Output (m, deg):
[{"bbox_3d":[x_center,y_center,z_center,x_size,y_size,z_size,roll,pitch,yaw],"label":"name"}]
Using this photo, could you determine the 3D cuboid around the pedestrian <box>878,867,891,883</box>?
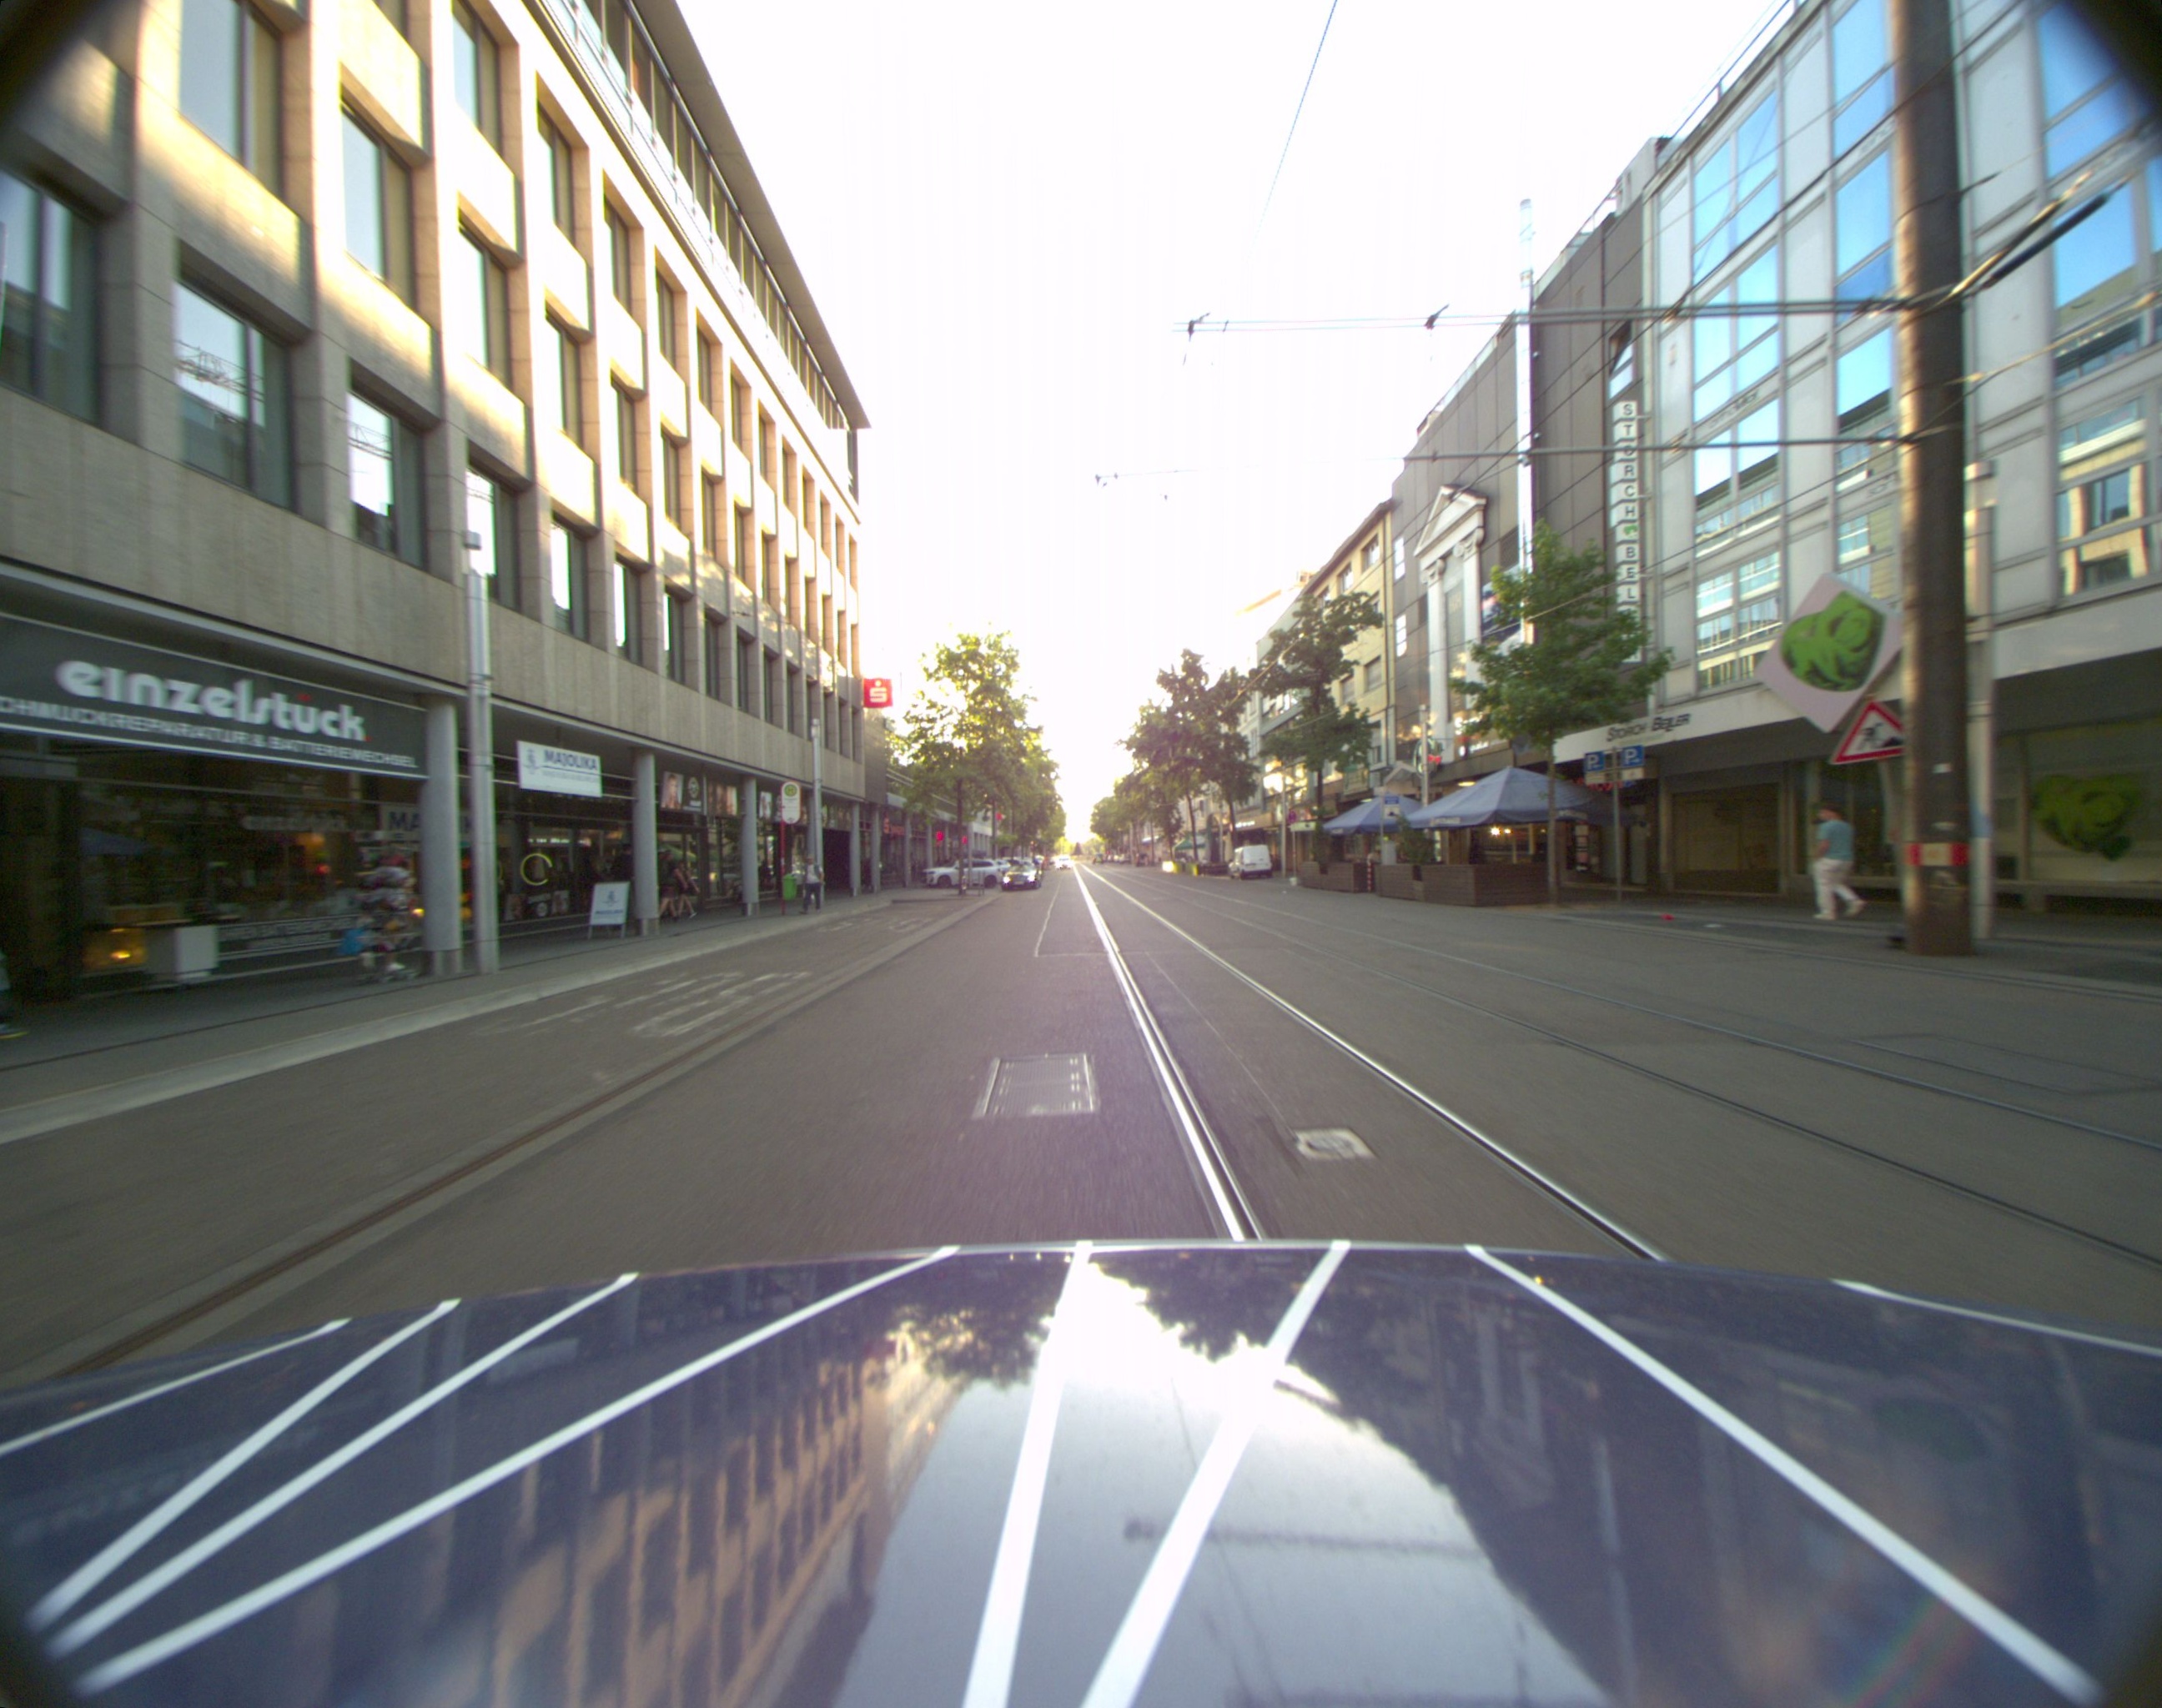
[{"bbox_3d":[-11.706,1.250,45.193,0.627,0.876,0.558,-1,1,-1],"label":"pedestrian"}]

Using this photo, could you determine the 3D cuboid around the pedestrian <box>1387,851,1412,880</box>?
[{"bbox_3d":[13.079,0.458,31.201,0.642,1.150,0.665,-4,1,-3],"label":"pedestrian"}]

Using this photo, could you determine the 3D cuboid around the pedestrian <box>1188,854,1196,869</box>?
[{"bbox_3d":[9.854,0.666,67.386,0.649,1.378,0.650,-1,1,6],"label":"pedestrian"}]

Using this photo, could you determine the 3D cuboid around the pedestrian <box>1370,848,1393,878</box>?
[{"bbox_3d":[13.169,0.397,33.297,0.642,1.221,0.665,-6,2,-2],"label":"pedestrian"}]

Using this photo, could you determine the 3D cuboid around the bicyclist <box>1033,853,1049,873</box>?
[{"bbox_3d":[-2.825,0.623,53.735,0.763,1.406,0.895,-1,0,-45],"label":"bicyclist"}]

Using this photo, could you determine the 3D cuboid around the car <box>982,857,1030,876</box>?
[{"bbox_3d":[-6.948,1.144,70.362,4.005,1.501,1.796,-4,1,-30],"label":"car"}]

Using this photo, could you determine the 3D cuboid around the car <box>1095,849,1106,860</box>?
[{"bbox_3d":[3.590,0.128,141.287,1.998,2.002,4.000,-1,0,0],"label":"car"}]

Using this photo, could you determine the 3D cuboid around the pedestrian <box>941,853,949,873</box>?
[{"bbox_3d":[-11.476,0.776,64.061,0.558,1.681,0.628,-1,1,0],"label":"pedestrian"}]

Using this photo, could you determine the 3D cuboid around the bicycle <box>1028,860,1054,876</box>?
[{"bbox_3d":[-2.824,0.978,53.736,0.734,1.067,1.860,-1,0,-45],"label":"bicycle"}]

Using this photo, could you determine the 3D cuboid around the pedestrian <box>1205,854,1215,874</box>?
[{"bbox_3d":[9.666,0.734,57.066,0.649,1.451,0.651,-1,1,17],"label":"pedestrian"}]

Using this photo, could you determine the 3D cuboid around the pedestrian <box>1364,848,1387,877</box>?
[{"bbox_3d":[13.243,0.386,34.197,0.642,1.221,0.665,-6,2,-2],"label":"pedestrian"}]

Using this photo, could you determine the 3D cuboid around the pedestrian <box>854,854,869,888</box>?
[{"bbox_3d":[-11.616,0.876,40.184,0.558,1.762,0.628,-1,1,0],"label":"pedestrian"}]

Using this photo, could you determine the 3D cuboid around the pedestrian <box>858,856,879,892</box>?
[{"bbox_3d":[-9.829,0.924,35.235,0.749,1.634,0.741,-1,1,-1],"label":"pedestrian"}]

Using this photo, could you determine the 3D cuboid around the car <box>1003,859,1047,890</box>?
[{"bbox_3d":[-2.864,1.011,39.664,1.798,1.400,4.565,-3,0,1],"label":"car"}]

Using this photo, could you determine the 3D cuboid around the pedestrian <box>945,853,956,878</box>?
[{"bbox_3d":[-9.144,0.797,53.259,0.618,1.681,0.628,-1,1,0],"label":"pedestrian"}]

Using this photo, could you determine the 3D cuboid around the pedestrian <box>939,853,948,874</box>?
[{"bbox_3d":[-11.247,0.786,62.178,0.558,1.681,0.628,-1,1,0],"label":"pedestrian"}]

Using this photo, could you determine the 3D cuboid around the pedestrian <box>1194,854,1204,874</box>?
[{"bbox_3d":[8.870,0.762,57.216,0.649,1.451,0.650,-1,1,0],"label":"pedestrian"}]

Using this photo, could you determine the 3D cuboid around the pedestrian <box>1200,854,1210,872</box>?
[{"bbox_3d":[9.822,0.699,60.186,0.649,1.451,0.651,-1,1,13],"label":"pedestrian"}]

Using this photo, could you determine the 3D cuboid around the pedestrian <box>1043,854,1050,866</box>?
[{"bbox_3d":[-4.283,0.709,94.526,0.650,1.451,0.649,-2,1,-17],"label":"pedestrian"}]

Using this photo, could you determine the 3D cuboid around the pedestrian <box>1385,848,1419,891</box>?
[{"bbox_3d":[11.160,0.527,26.415,0.766,1.393,0.746,-4,1,-1],"label":"pedestrian"}]

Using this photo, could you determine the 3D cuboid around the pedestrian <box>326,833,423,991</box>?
[{"bbox_3d":[-8.967,0.711,9.669,0.579,1.933,0.655,0,1,0],"label":"pedestrian"}]

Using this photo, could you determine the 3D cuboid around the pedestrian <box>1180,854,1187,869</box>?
[{"bbox_3d":[9.251,0.677,68.645,0.649,1.378,0.650,-1,1,6],"label":"pedestrian"}]

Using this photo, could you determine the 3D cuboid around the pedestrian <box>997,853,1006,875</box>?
[{"bbox_3d":[-6.269,0.762,59.885,0.618,1.681,0.628,-1,1,-5],"label":"pedestrian"}]

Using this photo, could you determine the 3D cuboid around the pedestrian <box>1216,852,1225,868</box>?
[{"bbox_3d":[12.793,0.570,69.499,0.650,1.451,0.650,-1,1,-3],"label":"pedestrian"}]

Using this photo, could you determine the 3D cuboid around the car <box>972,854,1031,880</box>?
[{"bbox_3d":[-6.633,1.064,63.497,4.474,1.869,1.796,-4,1,-37],"label":"car"}]

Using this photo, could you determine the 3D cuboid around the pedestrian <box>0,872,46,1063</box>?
[{"bbox_3d":[-9.722,0.991,6.499,0.689,1.652,0.722,0,1,1],"label":"pedestrian"}]

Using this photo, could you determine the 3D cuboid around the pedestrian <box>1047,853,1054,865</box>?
[{"bbox_3d":[-3.879,0.671,97.111,0.650,1.451,0.649,-2,1,-17],"label":"pedestrian"}]

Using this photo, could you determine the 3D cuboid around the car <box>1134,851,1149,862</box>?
[{"bbox_3d":[8.295,0.342,104.886,1.799,1.501,4.000,-1,0,0],"label":"car"}]

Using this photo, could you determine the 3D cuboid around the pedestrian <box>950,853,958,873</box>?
[{"bbox_3d":[-10.707,0.748,64.061,0.618,1.681,0.628,-1,1,0],"label":"pedestrian"}]

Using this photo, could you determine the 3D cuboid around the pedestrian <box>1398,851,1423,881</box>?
[{"bbox_3d":[13.054,0.469,30.126,0.642,1.150,0.665,-4,1,-3],"label":"pedestrian"}]

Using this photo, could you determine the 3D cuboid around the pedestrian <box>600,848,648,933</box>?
[{"bbox_3d":[-10.210,0.798,16.979,0.617,1.878,0.683,0,1,1],"label":"pedestrian"}]

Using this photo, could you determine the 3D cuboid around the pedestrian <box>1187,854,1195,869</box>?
[{"bbox_3d":[9.901,0.653,68.591,0.649,1.378,0.650,-1,1,6],"label":"pedestrian"}]

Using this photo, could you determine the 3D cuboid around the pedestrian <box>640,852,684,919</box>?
[{"bbox_3d":[-11.306,0.832,20.512,0.675,1.762,0.863,-1,1,-1],"label":"pedestrian"}]

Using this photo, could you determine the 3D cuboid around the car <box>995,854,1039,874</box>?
[{"bbox_3d":[-6.611,1.007,78.572,4.004,1.776,1.861,-4,1,-24],"label":"car"}]

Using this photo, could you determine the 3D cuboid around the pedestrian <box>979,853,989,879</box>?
[{"bbox_3d":[-6.773,0.855,53.266,0.618,1.789,0.628,-1,1,0],"label":"pedestrian"}]

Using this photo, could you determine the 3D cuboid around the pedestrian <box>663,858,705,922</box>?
[{"bbox_3d":[-10.380,0.922,19.894,0.682,1.634,0.788,-1,1,-1],"label":"pedestrian"}]

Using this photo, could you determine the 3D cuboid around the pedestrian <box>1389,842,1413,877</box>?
[{"bbox_3d":[13.763,0.231,32.676,0.662,1.426,0.643,-6,2,0],"label":"pedestrian"}]

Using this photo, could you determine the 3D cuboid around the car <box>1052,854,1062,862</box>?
[{"bbox_3d":[-4.557,0.765,144.899,1.793,1.499,3.999,-2,1,0],"label":"car"}]

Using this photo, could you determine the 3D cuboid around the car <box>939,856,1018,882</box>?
[{"bbox_3d":[-6.585,0.966,49.040,4.646,1.578,1.913,1,0,-35],"label":"car"}]

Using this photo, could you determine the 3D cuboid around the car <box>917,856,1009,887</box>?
[{"bbox_3d":[-6.458,0.986,41.707,4.646,1.619,1.914,1,-2,-32],"label":"car"}]

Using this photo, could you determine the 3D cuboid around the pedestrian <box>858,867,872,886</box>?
[{"bbox_3d":[-11.723,1.221,41.232,0.628,1.030,0.558,-1,1,-9],"label":"pedestrian"}]

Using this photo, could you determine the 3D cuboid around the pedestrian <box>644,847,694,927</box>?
[{"bbox_3d":[-9.863,0.777,18.218,0.708,1.878,0.796,0,1,0],"label":"pedestrian"}]

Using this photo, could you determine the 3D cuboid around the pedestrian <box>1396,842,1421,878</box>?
[{"bbox_3d":[13.780,0.237,31.957,0.662,1.426,0.643,-6,2,0],"label":"pedestrian"}]

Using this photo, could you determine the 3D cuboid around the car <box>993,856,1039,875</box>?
[{"bbox_3d":[-6.298,1.089,73.862,4.005,1.501,1.861,-4,1,-30],"label":"car"}]

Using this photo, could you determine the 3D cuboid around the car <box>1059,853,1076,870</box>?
[{"bbox_3d":[-1.723,0.943,94.970,1.998,2.002,4.000,-1,0,0],"label":"car"}]

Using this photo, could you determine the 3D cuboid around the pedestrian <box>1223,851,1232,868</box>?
[{"bbox_3d":[12.694,0.469,65.900,0.650,1.451,0.650,-1,1,-3],"label":"pedestrian"}]

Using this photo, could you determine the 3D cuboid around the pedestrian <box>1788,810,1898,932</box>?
[{"bbox_3d":[11.816,0.254,11.820,0.685,1.782,0.990,-4,1,5],"label":"pedestrian"}]

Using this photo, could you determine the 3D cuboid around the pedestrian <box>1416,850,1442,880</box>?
[{"bbox_3d":[13.865,0.438,30.276,0.642,1.150,0.665,-4,1,-3],"label":"pedestrian"}]

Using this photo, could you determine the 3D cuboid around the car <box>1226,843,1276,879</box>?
[{"bbox_3d":[9.582,0.370,43.193,1.830,1.811,4.329,-4,0,1],"label":"car"}]

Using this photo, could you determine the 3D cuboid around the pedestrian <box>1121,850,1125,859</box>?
[{"bbox_3d":[7.537,0.076,135.241,0.650,1.451,0.650,-1,1,-2],"label":"pedestrian"}]

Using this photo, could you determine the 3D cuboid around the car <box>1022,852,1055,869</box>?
[{"bbox_3d":[-5.071,0.784,91.451,1.860,1.776,4.007,-4,1,34],"label":"car"}]

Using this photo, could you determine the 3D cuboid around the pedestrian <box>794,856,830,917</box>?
[{"bbox_3d":[-7.259,0.867,20.506,0.670,1.579,0.638,-3,1,-1],"label":"pedestrian"}]

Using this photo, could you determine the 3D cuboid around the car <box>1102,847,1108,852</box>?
[{"bbox_3d":[7.106,-1.400,224.642,1.799,1.501,4.000,-1,0,0],"label":"car"}]

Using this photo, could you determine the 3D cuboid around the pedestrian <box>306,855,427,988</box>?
[{"bbox_3d":[-10.056,0.913,10.727,0.846,1.787,0.858,0,1,0],"label":"pedestrian"}]

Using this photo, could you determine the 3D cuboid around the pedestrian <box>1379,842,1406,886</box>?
[{"bbox_3d":[11.491,0.365,28.037,0.658,1.543,0.565,-4,1,-2],"label":"pedestrian"}]

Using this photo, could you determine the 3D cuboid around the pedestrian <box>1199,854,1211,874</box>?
[{"bbox_3d":[9.164,0.760,56.278,0.648,1.451,0.651,-1,1,29],"label":"pedestrian"}]

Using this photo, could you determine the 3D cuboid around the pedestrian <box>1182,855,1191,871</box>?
[{"bbox_3d":[8.825,0.741,63.509,0.649,1.378,0.650,-1,1,6],"label":"pedestrian"}]

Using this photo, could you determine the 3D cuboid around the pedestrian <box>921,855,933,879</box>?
[{"bbox_3d":[-10.763,0.919,53.160,0.629,1.681,0.556,-1,1,-38],"label":"pedestrian"}]
